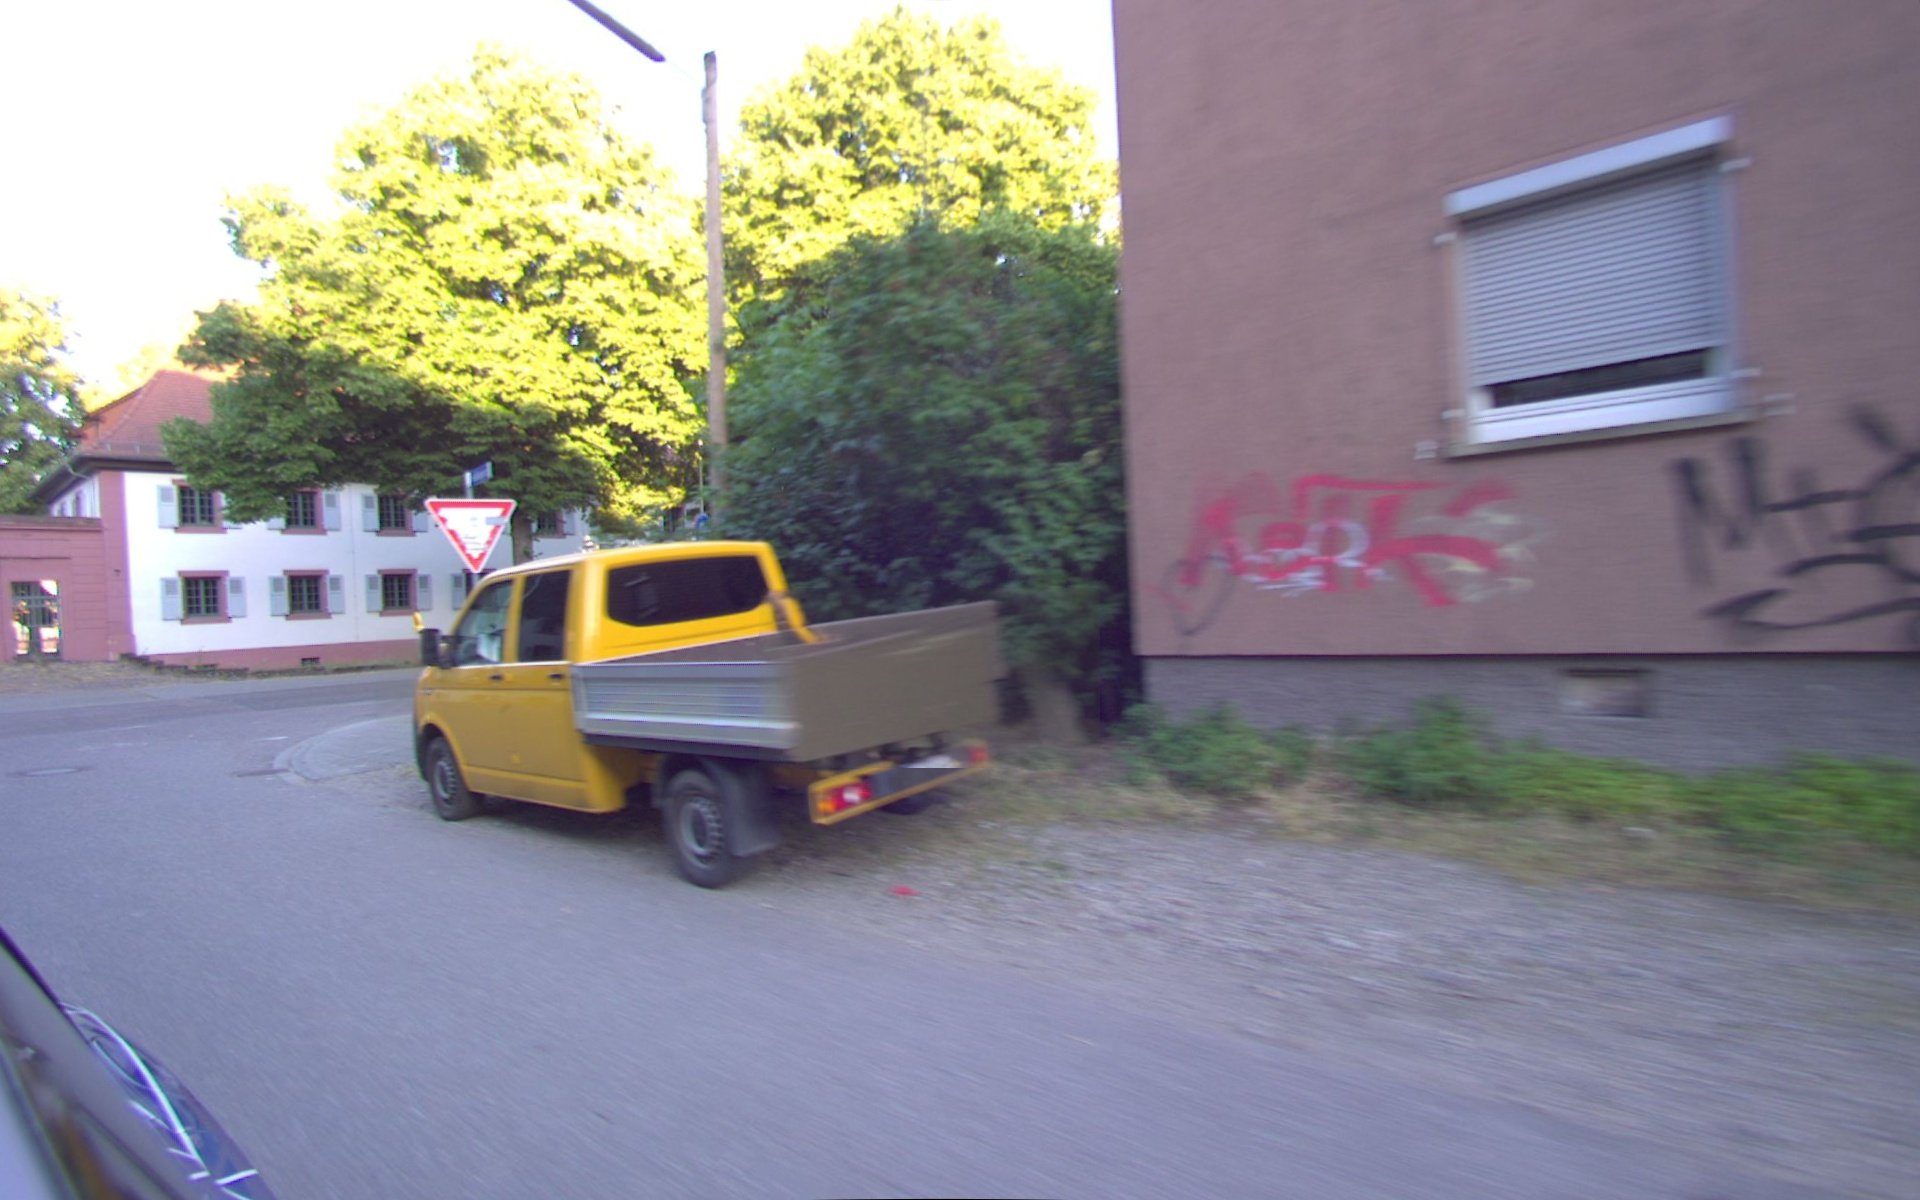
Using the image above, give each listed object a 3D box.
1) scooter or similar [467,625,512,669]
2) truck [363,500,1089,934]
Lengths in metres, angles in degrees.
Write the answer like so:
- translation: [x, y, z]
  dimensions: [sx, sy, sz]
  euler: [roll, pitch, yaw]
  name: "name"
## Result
- translation: [-14.456, 1.437, 31.108]
  dimensions: [0.239, 1.285, 1.252]
  euler: [-3, 0, 36]
  name: "scooter or similar"
- translation: [-2.046, 0.554, 7.129]
  dimensions: [5.659, 1.927, 2.013]
  euler: [-2, 1, 42]
  name: "truck"
